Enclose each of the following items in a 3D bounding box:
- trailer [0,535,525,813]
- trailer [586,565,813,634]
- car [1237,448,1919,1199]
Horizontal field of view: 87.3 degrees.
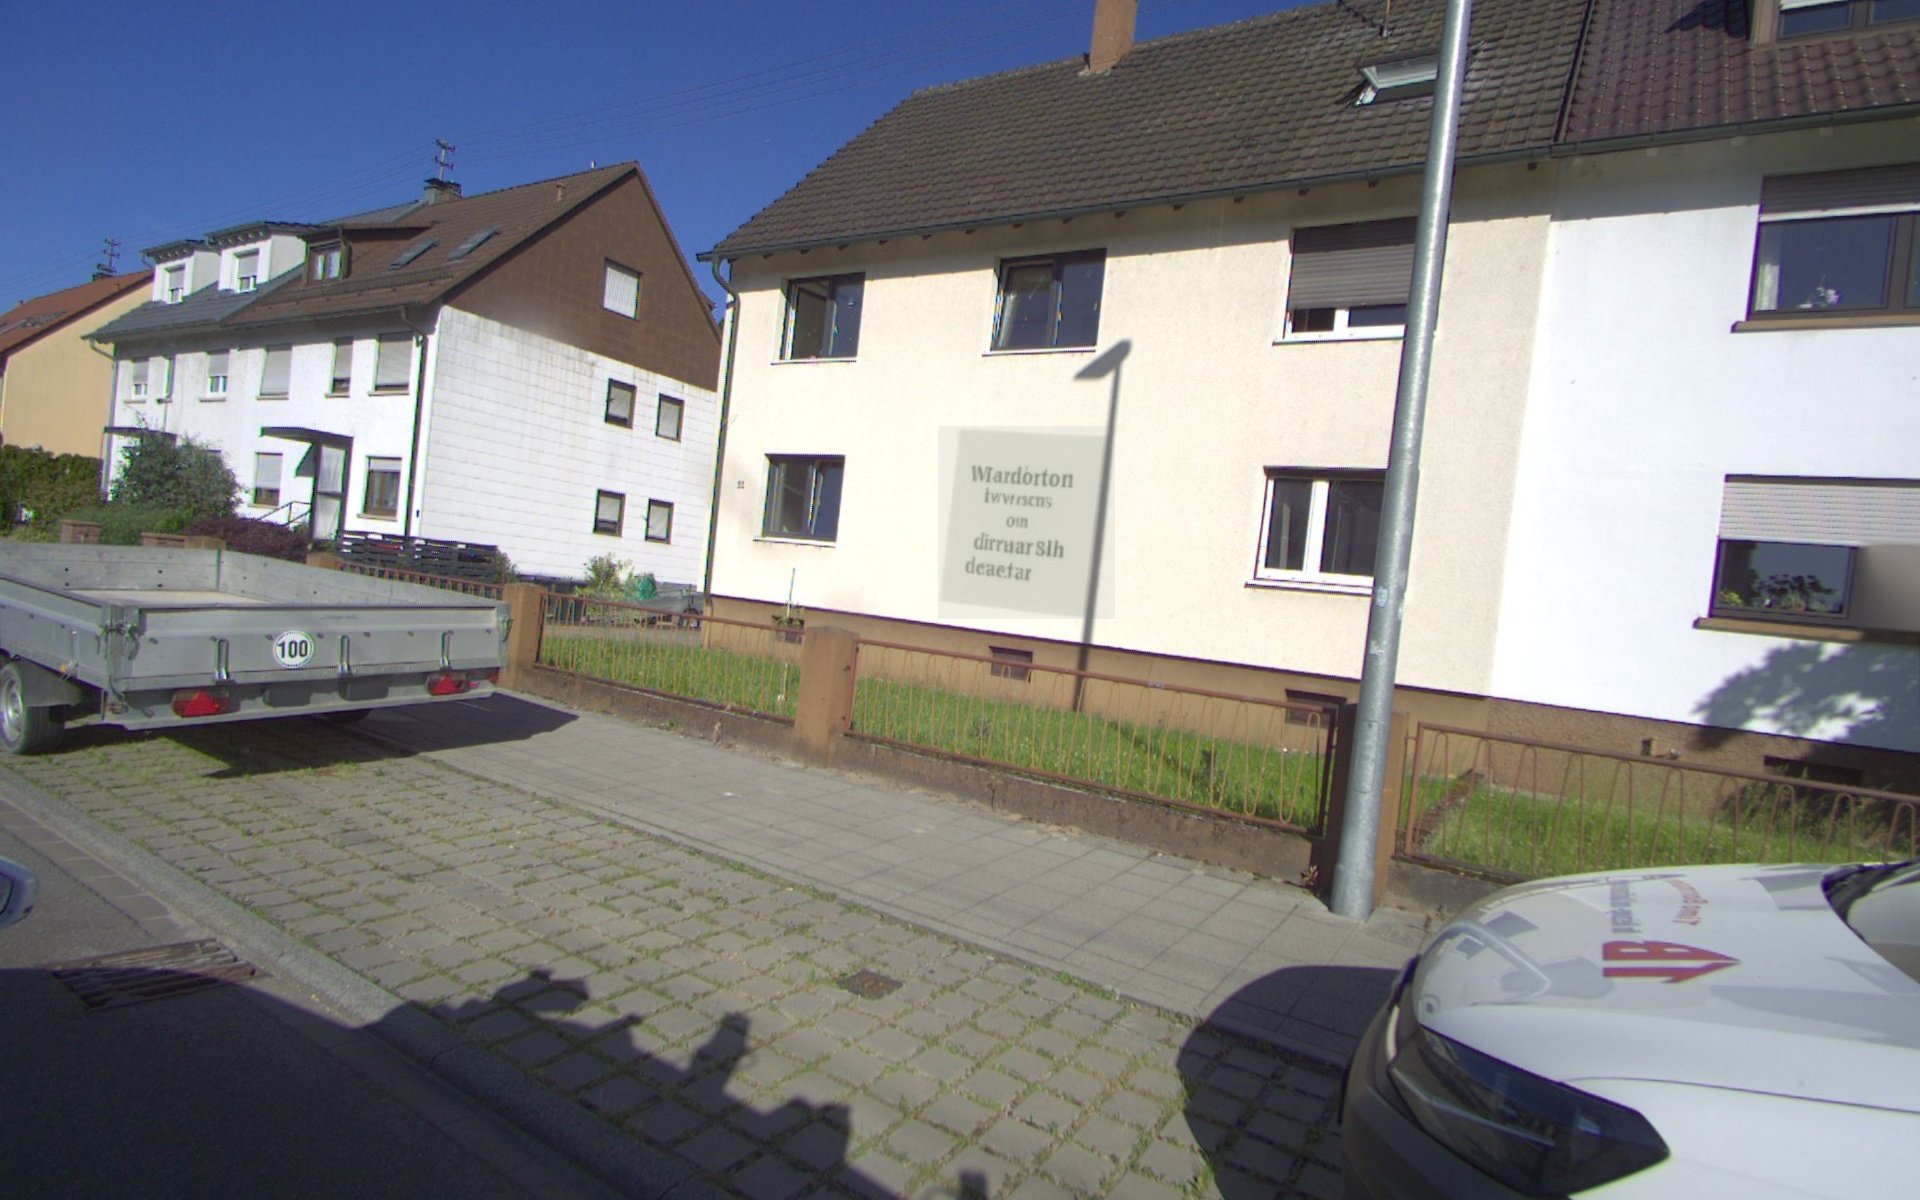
[{"bbox_3d":[-5.252,0.277,6.722,4.299,1.108,2.205,6,1,32],"label":"trailer"},{"bbox_3d":[-5.465,0.043,21.757,1.618,1.041,4.806,7,0,35],"label":"trailer"},{"bbox_3d":[2.887,0.908,1.226,4.579,1.799,1.691,7,1,33],"label":"car"}]
